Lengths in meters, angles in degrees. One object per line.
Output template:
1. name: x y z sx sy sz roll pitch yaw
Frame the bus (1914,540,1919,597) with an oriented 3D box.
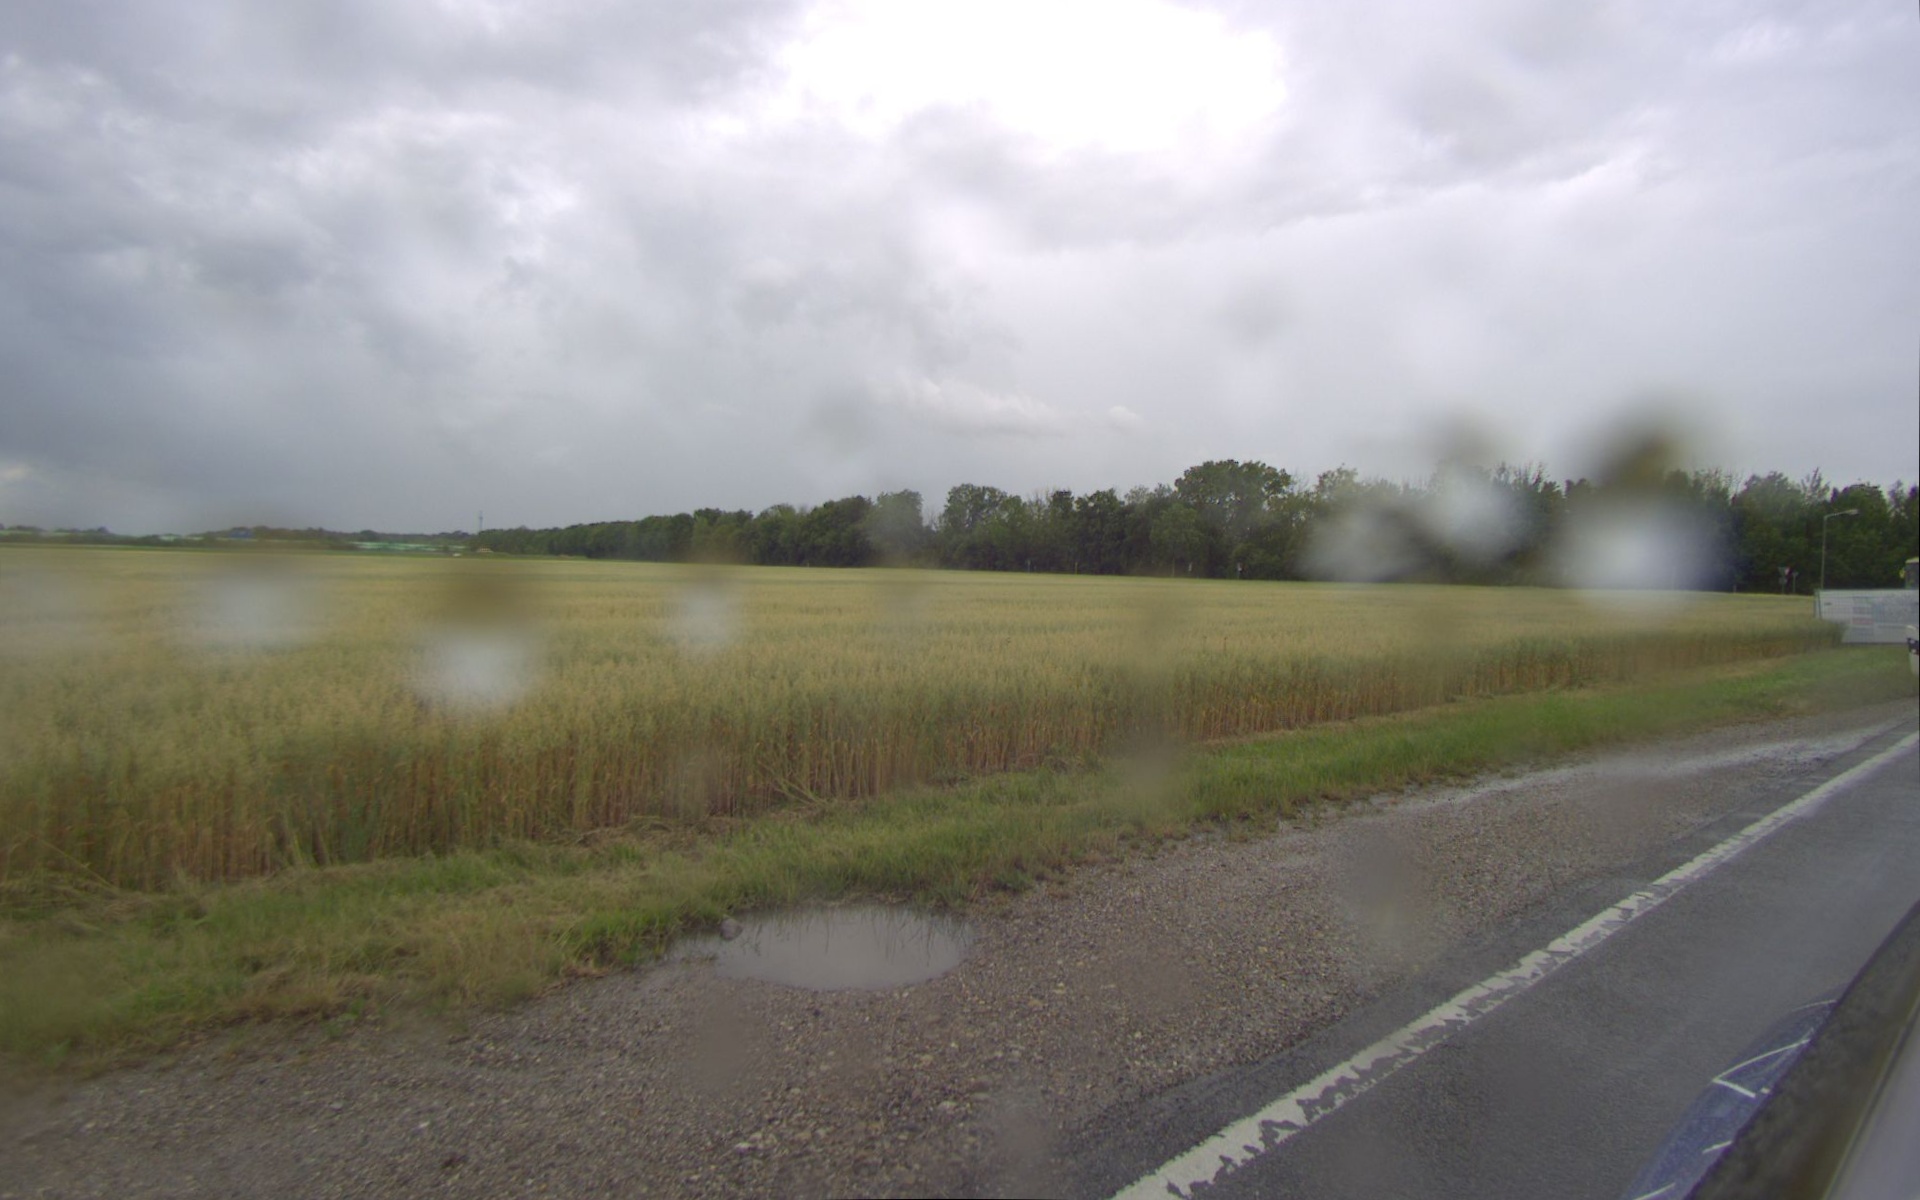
1. bus: 68.729 -2.109 70.283 14.062 3.731 2.991 -1 3 -45
